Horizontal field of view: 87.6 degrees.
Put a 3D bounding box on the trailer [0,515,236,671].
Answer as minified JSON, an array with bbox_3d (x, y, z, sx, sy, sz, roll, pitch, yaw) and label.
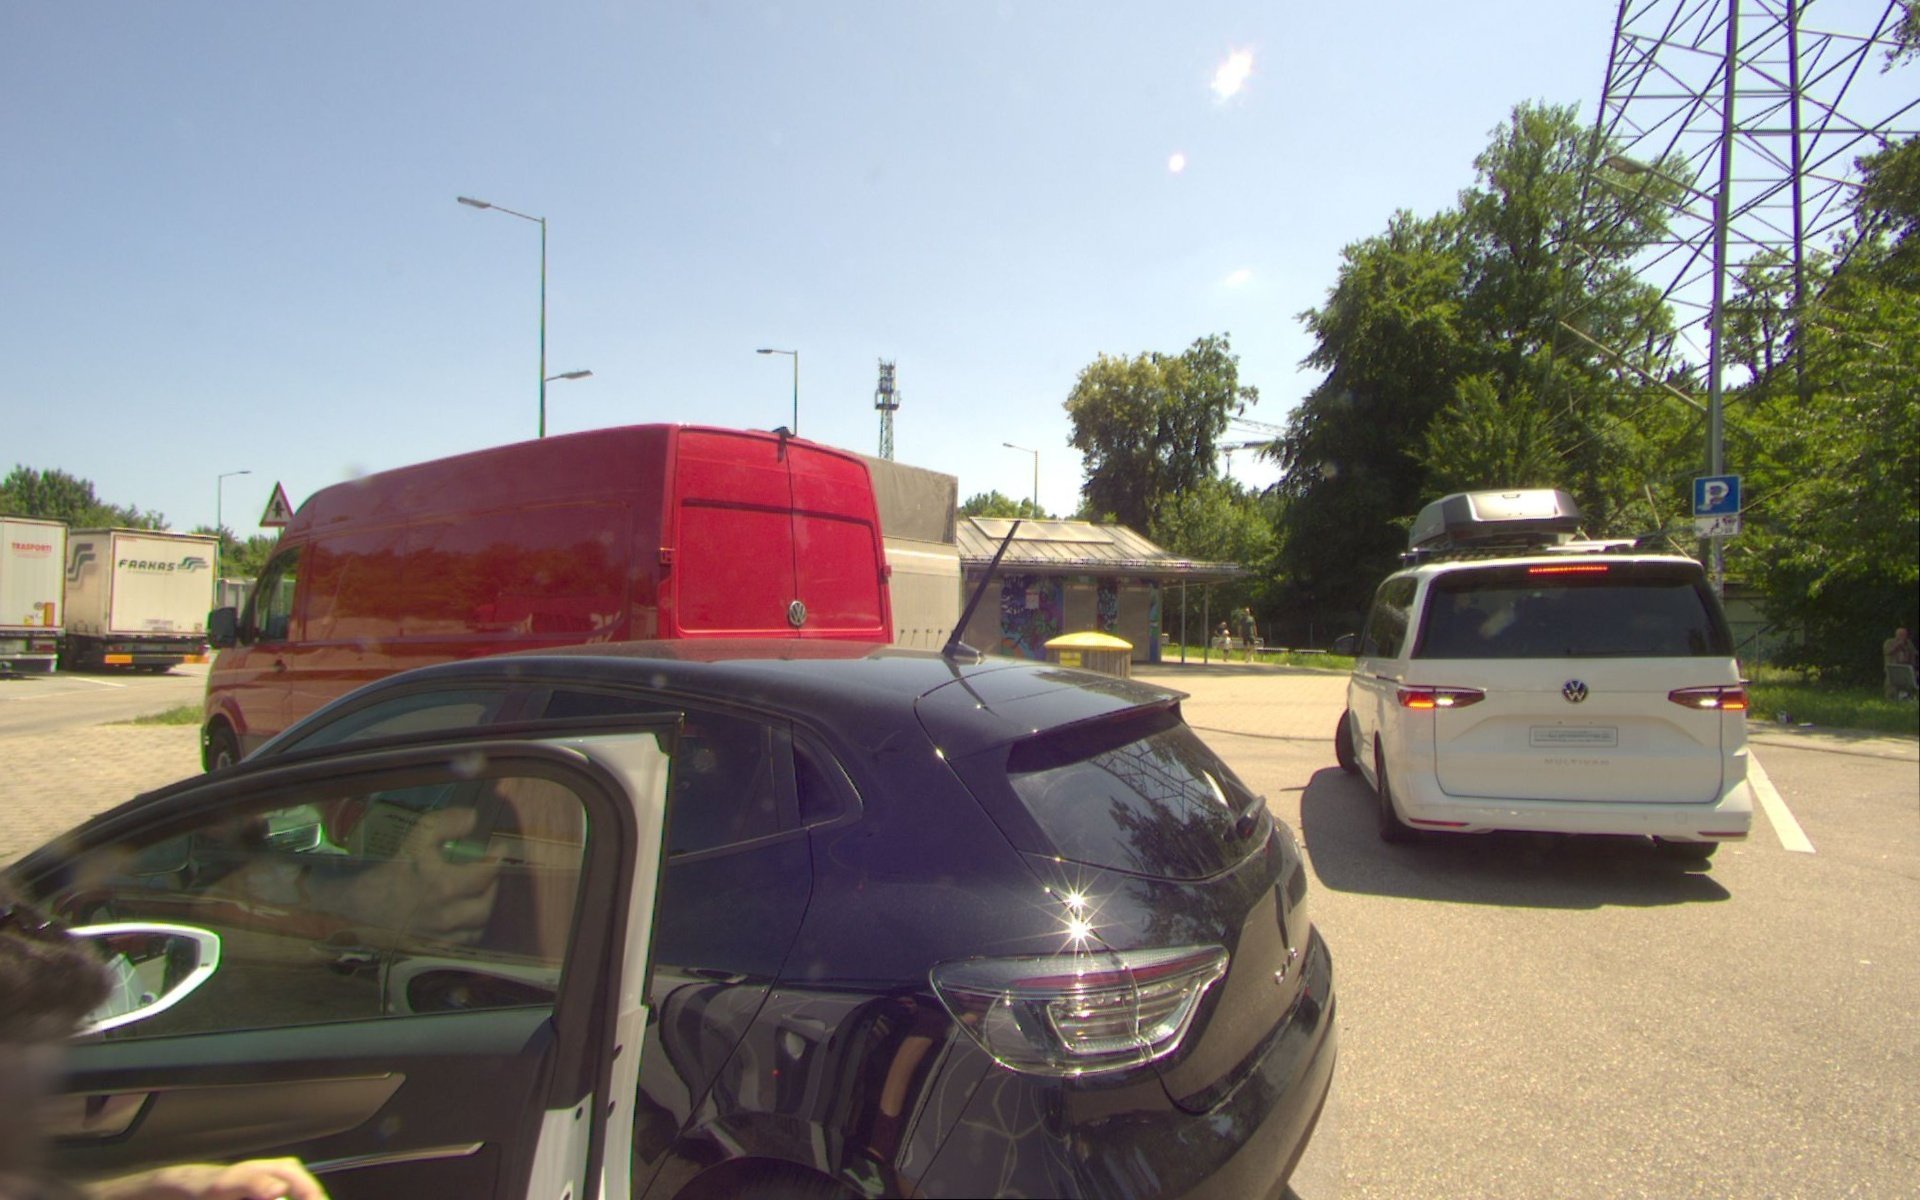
[{"bbox_3d":[-27.666,-0.215,31.631,13.523,4.185,2.835,1,-2,33],"label":"trailer"}]

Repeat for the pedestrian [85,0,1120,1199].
[{"bbox_3d":[-0.367,0.593,1.033,0.878,1.865,0.618,-1,-1,35],"label":"pedestrian"}]

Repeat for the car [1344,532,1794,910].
[{"bbox_3d":[4.066,0.675,7.598,1.878,1.937,4.558,-1,-1,18],"label":"car"}]

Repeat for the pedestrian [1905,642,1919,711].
[{"bbox_3d":[17.185,1.336,17.481,0.876,1.192,0.666,-1,-1,32],"label":"pedestrian"}]

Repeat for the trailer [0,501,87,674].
[{"bbox_3d":[-28.974,-0.390,28.150,13.523,4.185,2.835,1,-2,33],"label":"trailer"}]

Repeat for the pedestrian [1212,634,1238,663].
[{"bbox_3d":[9.024,1.651,34.099,0.633,0.960,0.778,0,-1,-4],"label":"pedestrian"}]

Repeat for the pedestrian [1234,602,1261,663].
[{"bbox_3d":[9.793,1.100,34.129,0.633,2.067,0.778,0,-1,-4],"label":"pedestrian"}]

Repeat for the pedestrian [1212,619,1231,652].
[{"bbox_3d":[12.139,1.644,46.460,0.635,1.547,0.564,0,-1,-21],"label":"pedestrian"}]

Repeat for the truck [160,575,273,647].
[{"bbox_3d":[-37.701,0.530,50.741,5.405,3.407,2.847,1,-2,34],"label":"truck"}]

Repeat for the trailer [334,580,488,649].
[{"bbox_3d":[-36.056,0.865,65.435,13.530,4.101,2.833,1,-2,34],"label":"trailer"}]

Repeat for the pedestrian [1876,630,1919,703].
[{"bbox_3d":[18.739,1.303,19.905,0.660,1.422,0.647,-1,-1,33],"label":"pedestrian"}]

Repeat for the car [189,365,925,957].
[{"bbox_3d":[-3.358,0.302,7.361,6.310,2.731,2.059,0,-1,37],"label":"car"}]

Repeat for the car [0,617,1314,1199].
[{"bbox_3d":[-1.066,0.831,2.910,3.757,1.501,1.736,0,-1,27],"label":"car"}]

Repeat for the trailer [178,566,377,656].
[{"bbox_3d":[-32.392,0.449,47.142,13.530,3.764,2.833,1,-2,34],"label":"trailer"}]
